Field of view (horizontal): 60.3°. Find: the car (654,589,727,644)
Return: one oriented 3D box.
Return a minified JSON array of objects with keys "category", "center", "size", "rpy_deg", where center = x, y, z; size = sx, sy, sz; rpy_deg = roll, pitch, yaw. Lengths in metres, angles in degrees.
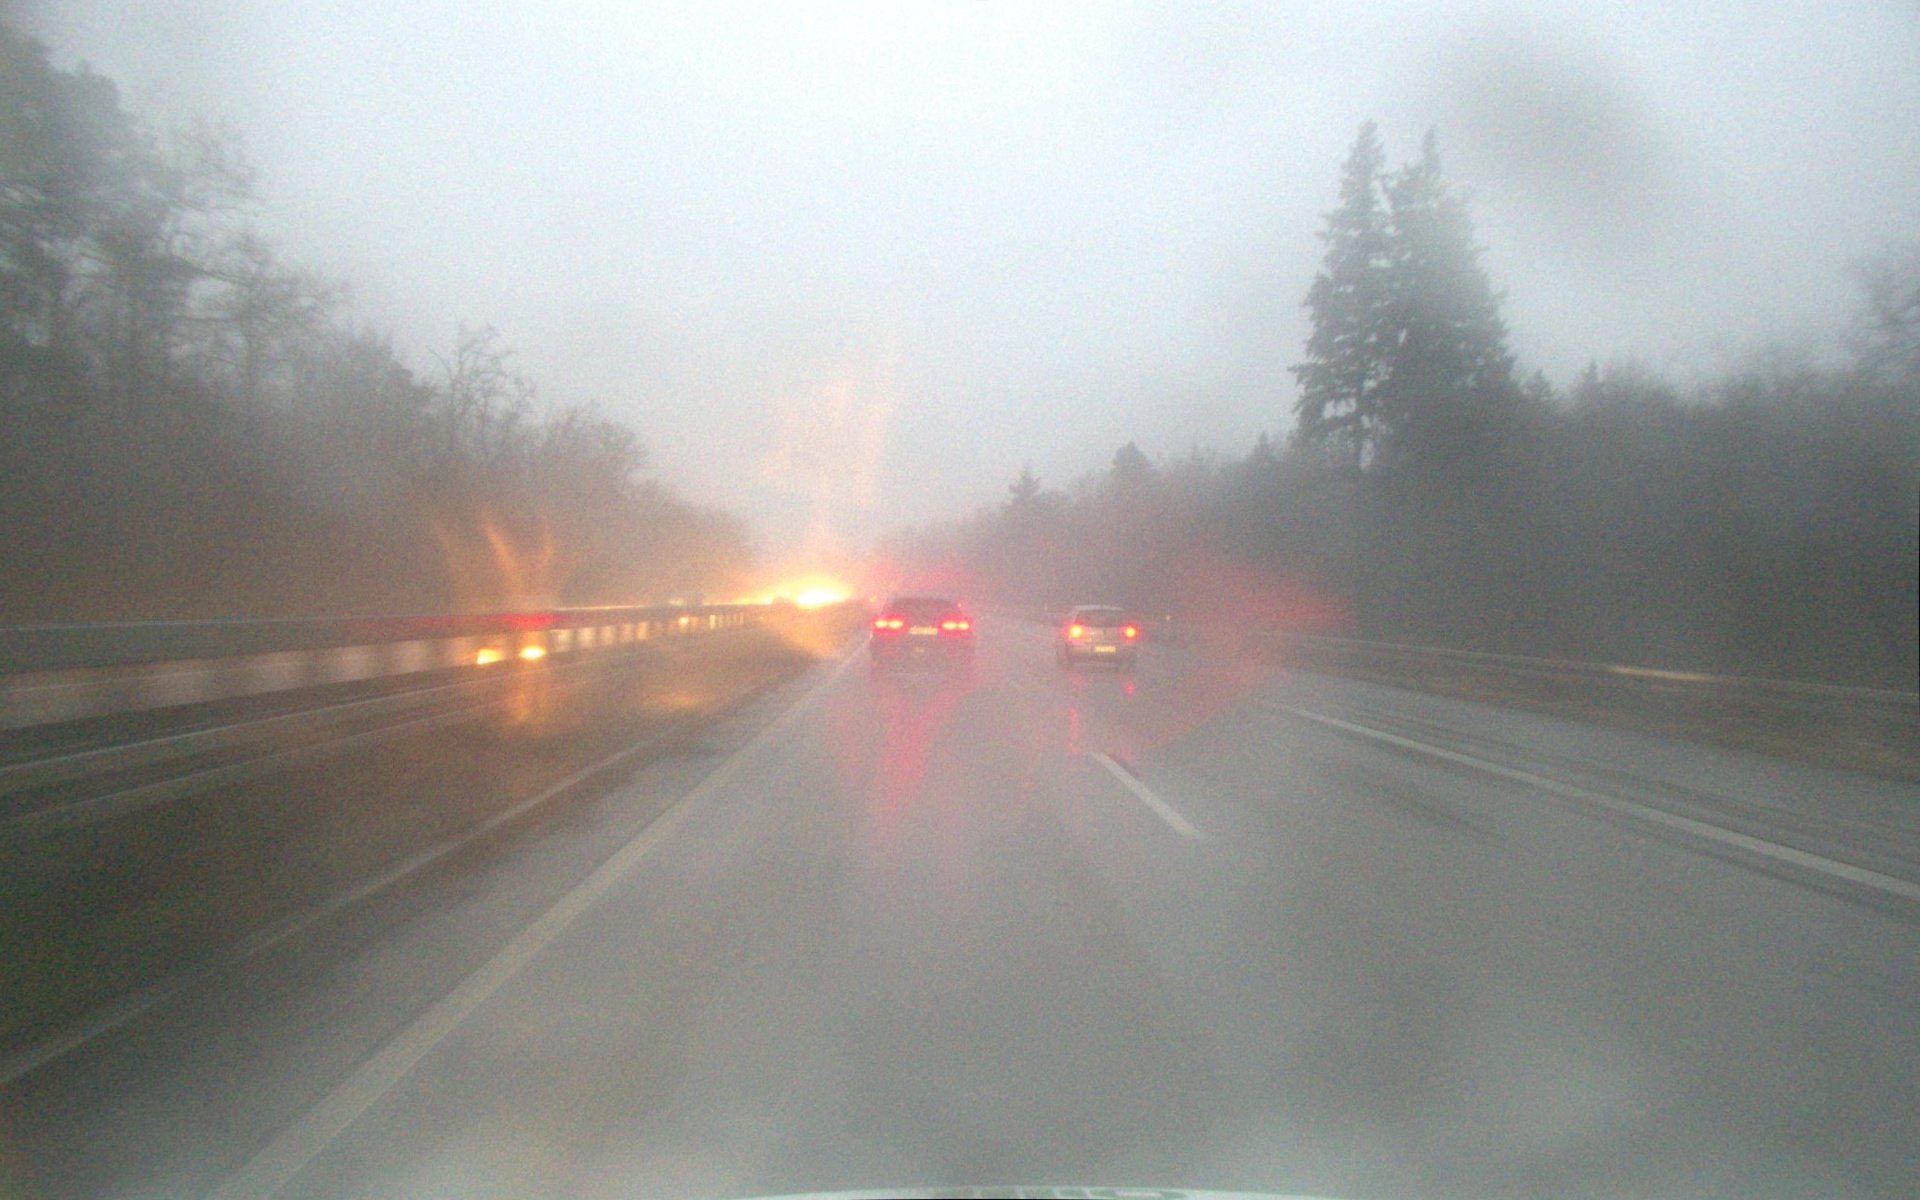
[{"category":"car","center":[-8.379,0.487,51.675],"size":[1.687,1.635,3.513],"rpy_deg":[1,0,0]}]

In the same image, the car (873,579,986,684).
[{"category":"car","center":[-0.581,0.537,30.726],"size":[1.946,1.798,4.172],"rpy_deg":[1,0,-2]}]

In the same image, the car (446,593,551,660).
[{"category":"car","center":[-13.403,0.736,48.280],"size":[1.943,1.838,3.999],"rpy_deg":[1,0,-1]}]

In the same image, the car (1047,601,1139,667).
[{"category":"car","center":[3.115,0.774,39.253],"size":[1.744,1.462,3.535],"rpy_deg":[1,0,-2]}]
